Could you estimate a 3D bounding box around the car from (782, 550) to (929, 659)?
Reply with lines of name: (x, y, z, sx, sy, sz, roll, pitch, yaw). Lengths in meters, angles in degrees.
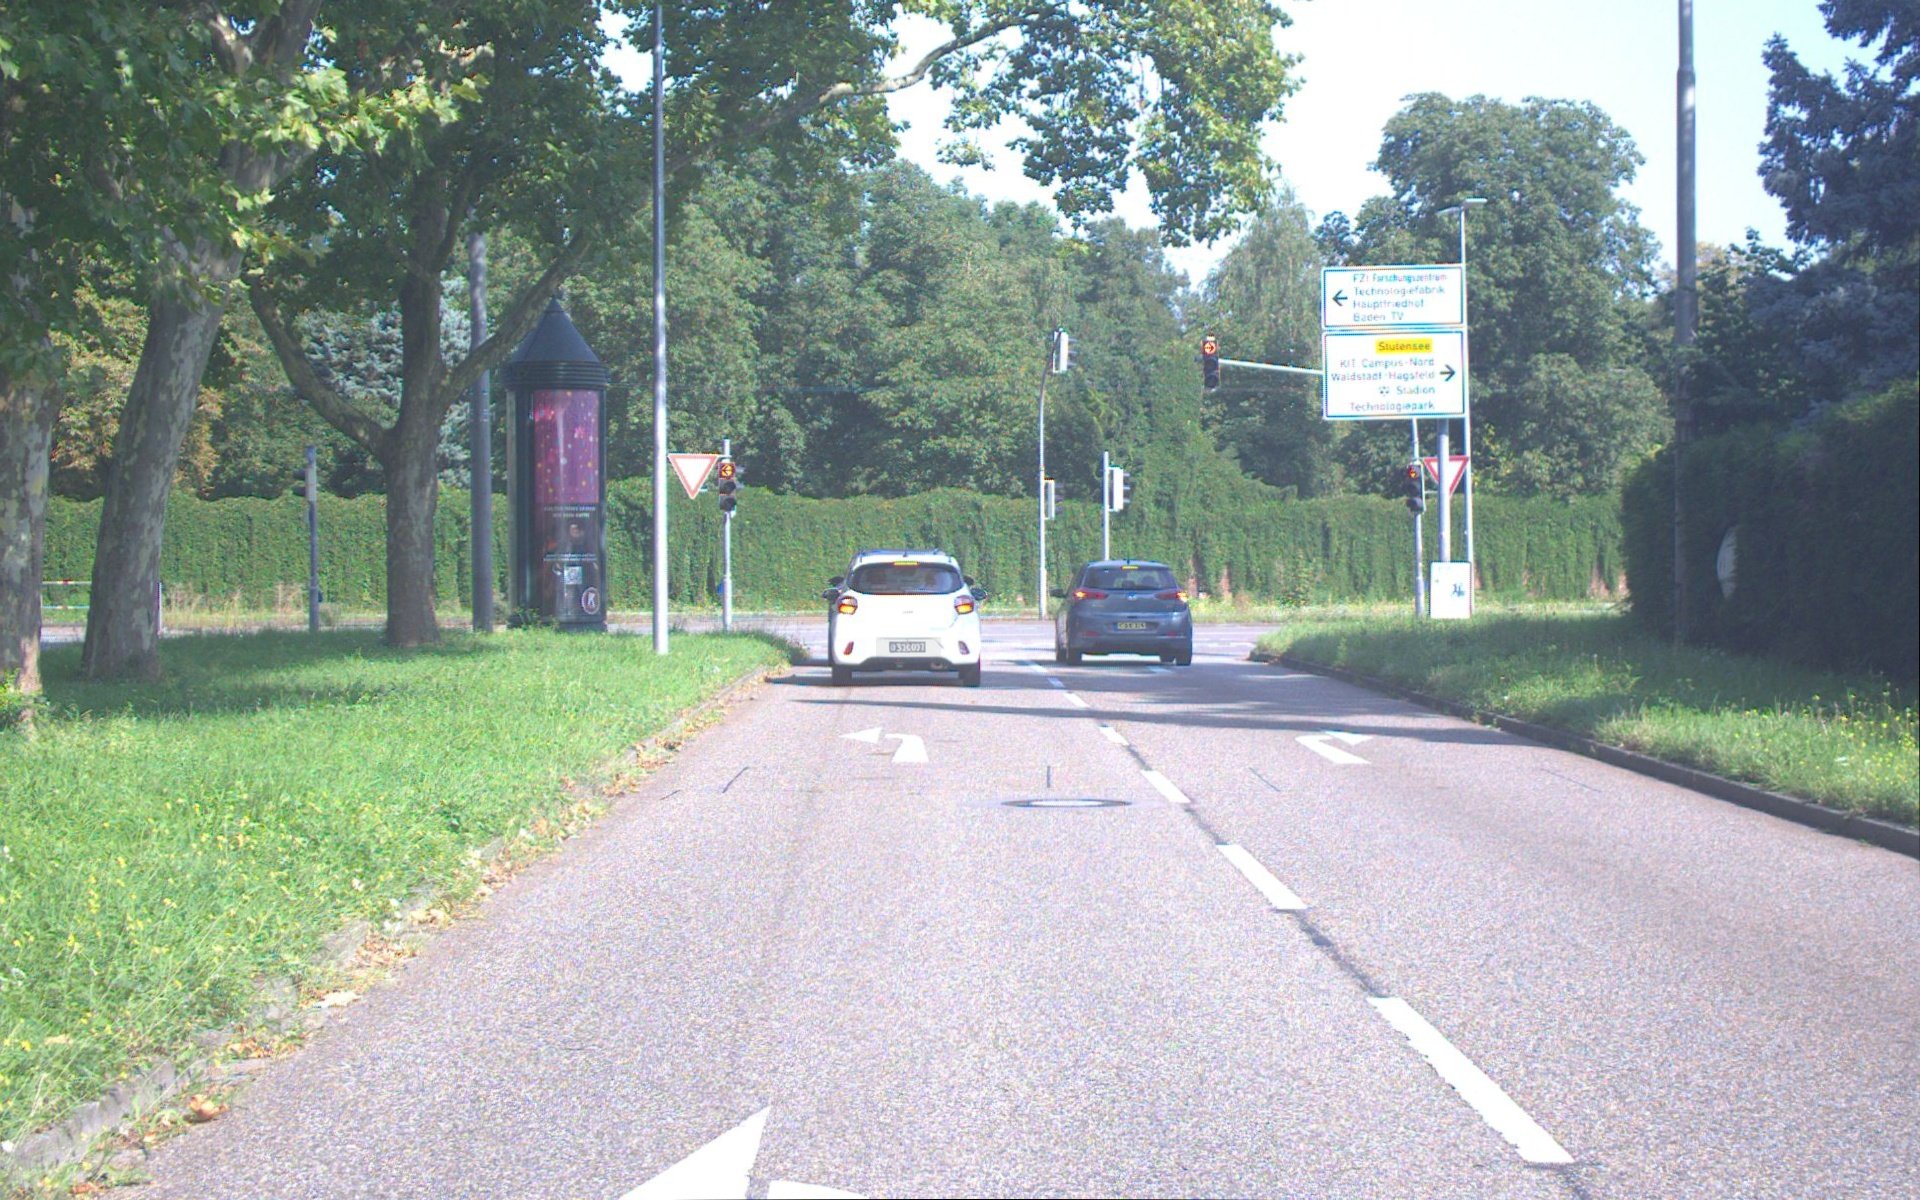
car: (-1.420, 0.042, 48.080, 1.687, 1.457, 3.849, 0, 0, 4)

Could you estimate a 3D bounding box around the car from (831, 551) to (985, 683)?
car: (-0.560, 0.165, 39.981, 1.687, 1.457, 4.000, 0, 0, 1)

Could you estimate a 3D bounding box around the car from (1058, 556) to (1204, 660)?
car: (2.375, 0.091, 48.542, 1.797, 1.396, 4.000, 0, 1, -1)
